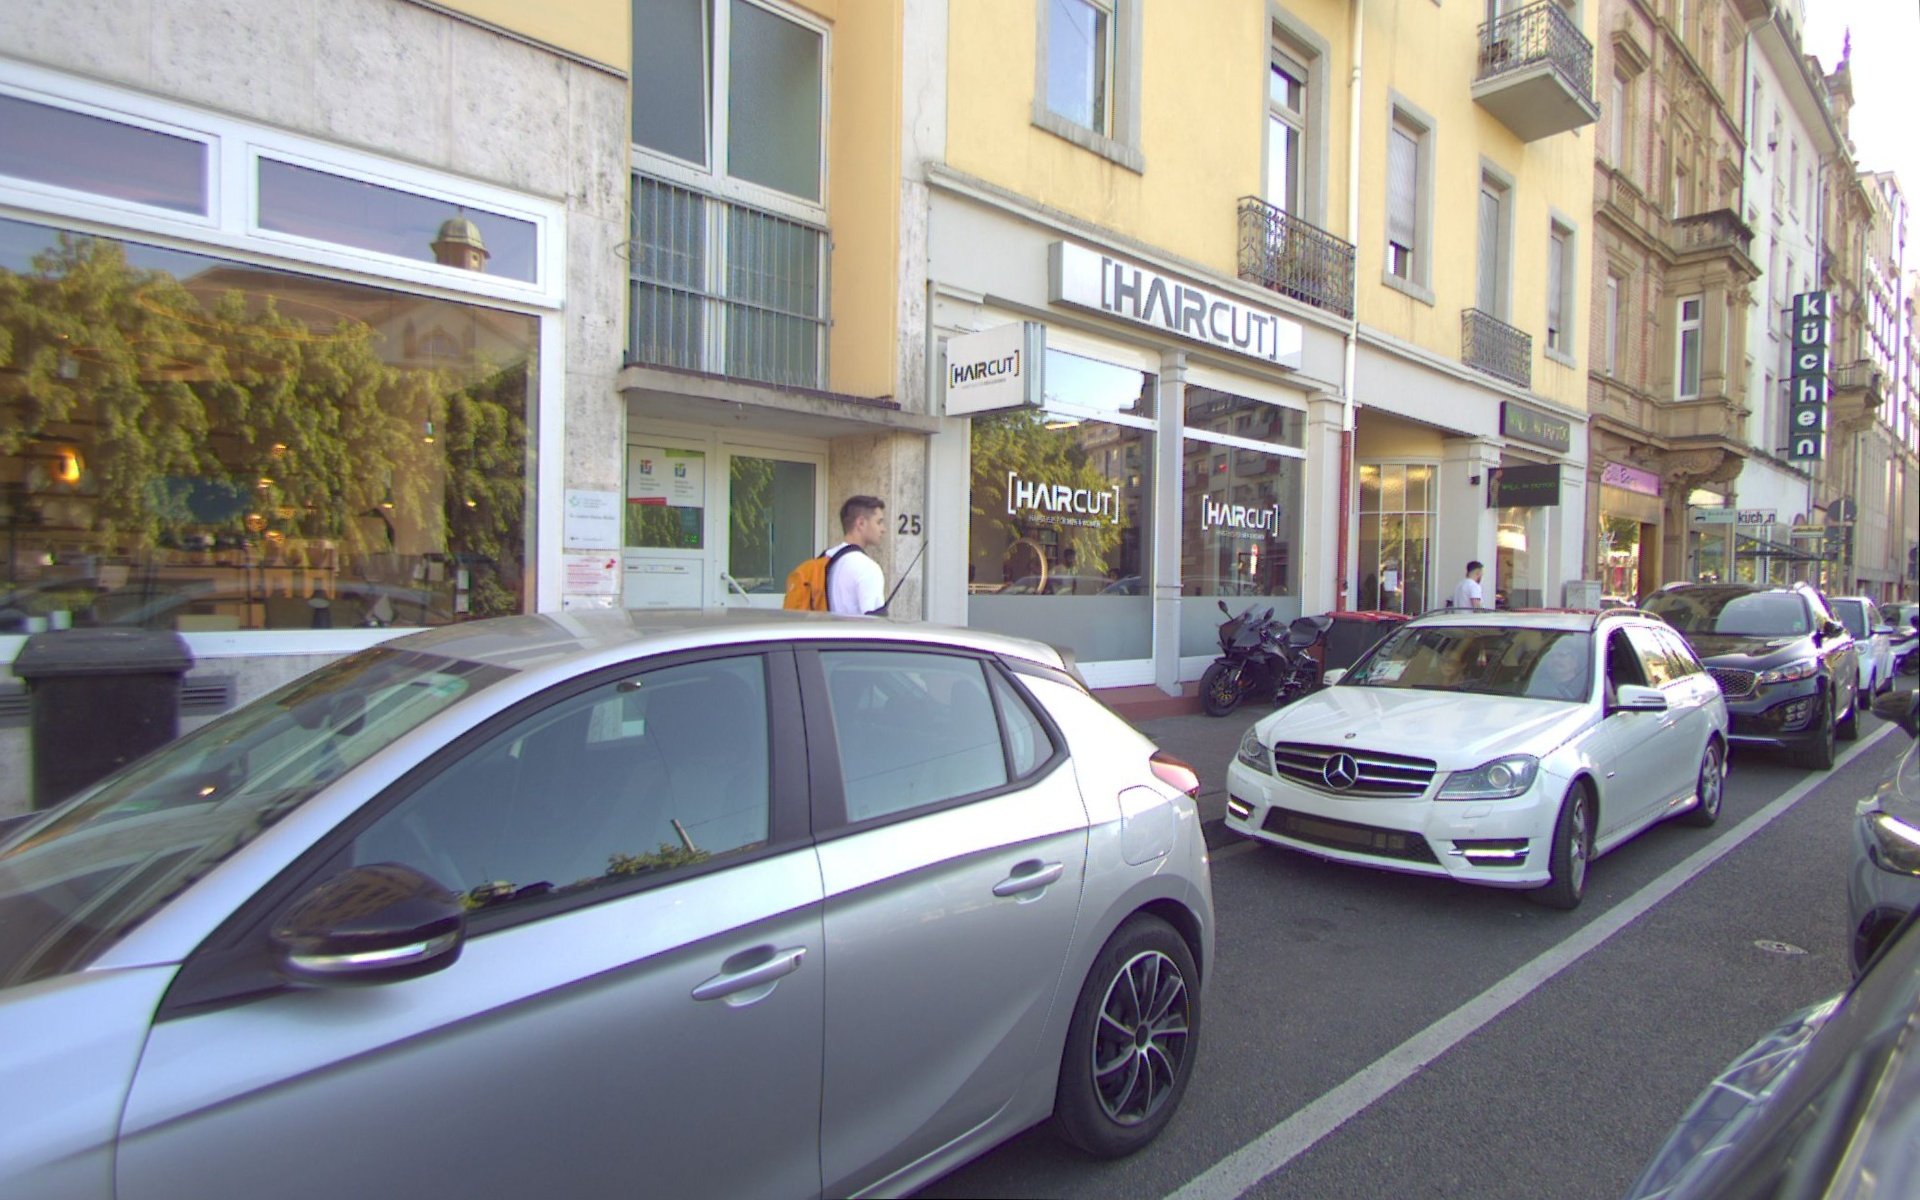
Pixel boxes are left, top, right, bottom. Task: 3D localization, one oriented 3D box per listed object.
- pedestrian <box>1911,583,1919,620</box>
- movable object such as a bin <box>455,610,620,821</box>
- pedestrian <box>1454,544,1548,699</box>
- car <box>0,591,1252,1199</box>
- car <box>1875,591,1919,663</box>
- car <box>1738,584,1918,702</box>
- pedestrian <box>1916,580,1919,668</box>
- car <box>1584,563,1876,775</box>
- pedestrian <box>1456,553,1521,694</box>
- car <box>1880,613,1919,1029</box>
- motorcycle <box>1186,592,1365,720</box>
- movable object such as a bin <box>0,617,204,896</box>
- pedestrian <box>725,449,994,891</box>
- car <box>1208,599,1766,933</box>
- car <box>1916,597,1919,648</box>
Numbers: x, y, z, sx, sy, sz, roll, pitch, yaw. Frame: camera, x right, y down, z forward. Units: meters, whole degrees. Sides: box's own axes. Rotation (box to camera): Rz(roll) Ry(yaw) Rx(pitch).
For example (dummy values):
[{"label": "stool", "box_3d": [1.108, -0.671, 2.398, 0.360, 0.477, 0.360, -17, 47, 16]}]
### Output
[{"label": "pedestrian", "box_3d": [45.858, 0.060, 48.169, 0.809, 1.782, 0.825, 0, 0, -42]}, {"label": "movable object such as a bin", "box_3d": [-2.320, 0.583, 5.544, 0.639, 1.036, 0.737, 0, 0, -41]}, {"label": "pedestrian", "box_3d": [6.834, 0.257, 12.817, 0.961, 1.900, 0.532, 0, 0, 18]}, {"label": "car", "box_3d": [-0.999, 0.717, 2.314, 3.625, 1.455, 1.585, -1, 0, -43]}, {"label": "car", "box_3d": [21.905, 0.567, 22.815, 3.736, 1.509, 1.691, -1, 0, -45]}, {"label": "car", "box_3d": [12.778, 0.549, 14.859, 2.945, 1.542, 1.582, -1, 0, -41]}, {"label": "pedestrian", "box_3d": [19.551, 0.481, 19.844, 0.804, 1.741, 0.838, 0, 0, -1]}, {"label": "car", "box_3d": [8.016, 0.532, 10.373, 4.338, 1.711, 1.802, -1, 0, -45]}, {"label": "pedestrian", "box_3d": [7.246, 0.303, 13.880, 0.627, 1.859, 0.760, 0, 0, 41]}, {"label": "car", "box_3d": [5.404, 0.752, 4.382, 4.397, 1.385, 1.767, -1, 1, -43]}, {"label": "motorcycle", "box_3d": [3.308, 0.525, 10.510, 2.073, 1.144, 0.735, -1, 5, -41]}, {"label": "movable object such as a bin", "box_3d": [-3.667, 0.601, 4.330, 0.639, 1.036, 0.737, 0, 0, -41]}, {"label": "pedestrian", "box_3d": [-0.488, 0.271, 4.821, 0.964, 1.845, 0.811, 0, 3, -37]}, {"label": "car", "box_3d": [3.539, 0.710, 6.394, 4.301, 1.389, 1.671, -1, 0, -41]}, {"label": "car", "box_3d": [26.616, 0.575, 26.934, 3.306, 1.334, 1.459, -1, 0, -42]}]
